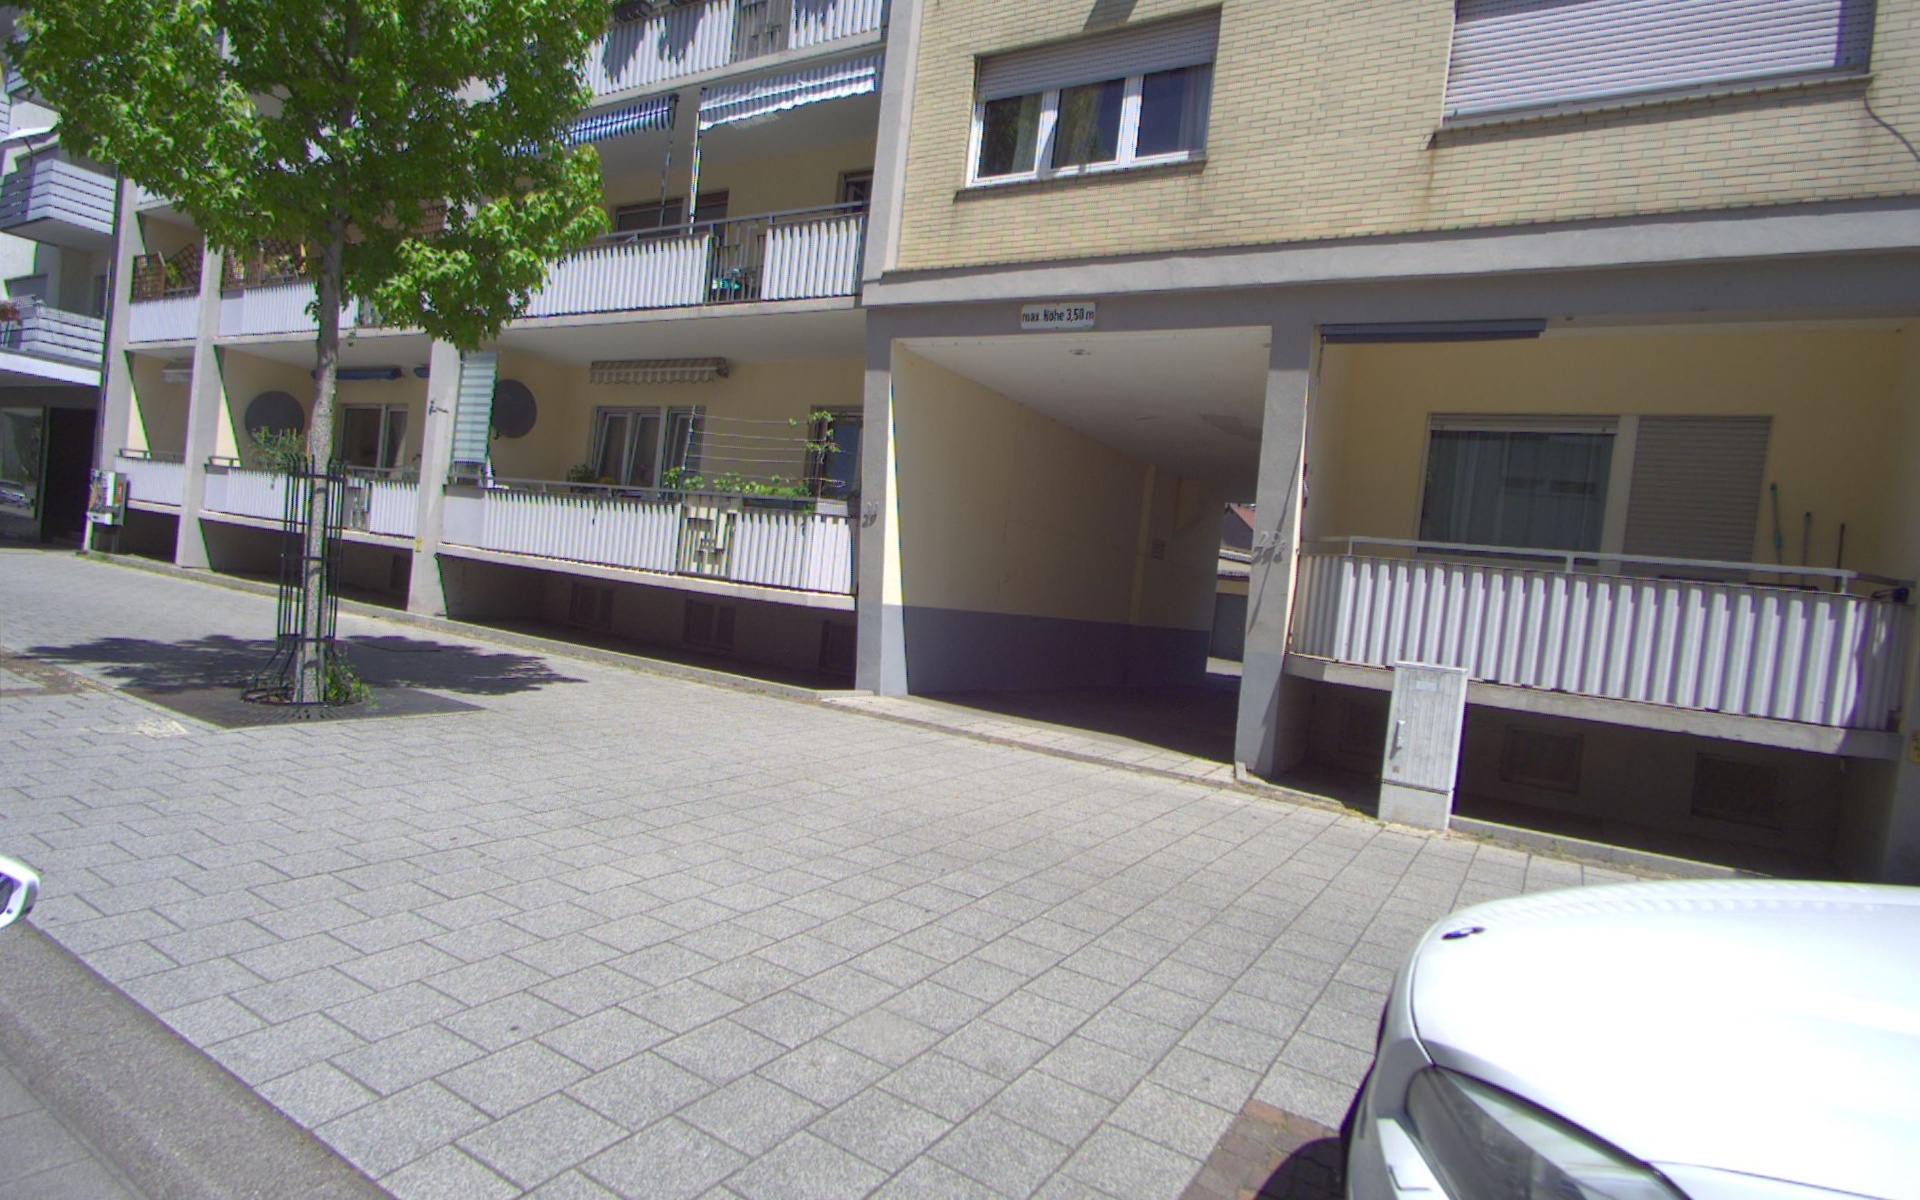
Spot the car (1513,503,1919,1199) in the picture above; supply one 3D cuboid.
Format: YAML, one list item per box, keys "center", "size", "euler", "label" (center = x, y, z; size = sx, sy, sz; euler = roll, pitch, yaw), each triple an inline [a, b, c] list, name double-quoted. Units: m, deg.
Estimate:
- center: [2.886, 0.897, 0.839]
  size: [4.156, 1.605, 1.722]
  euler: [6, 3, 33]
  label: "car"
